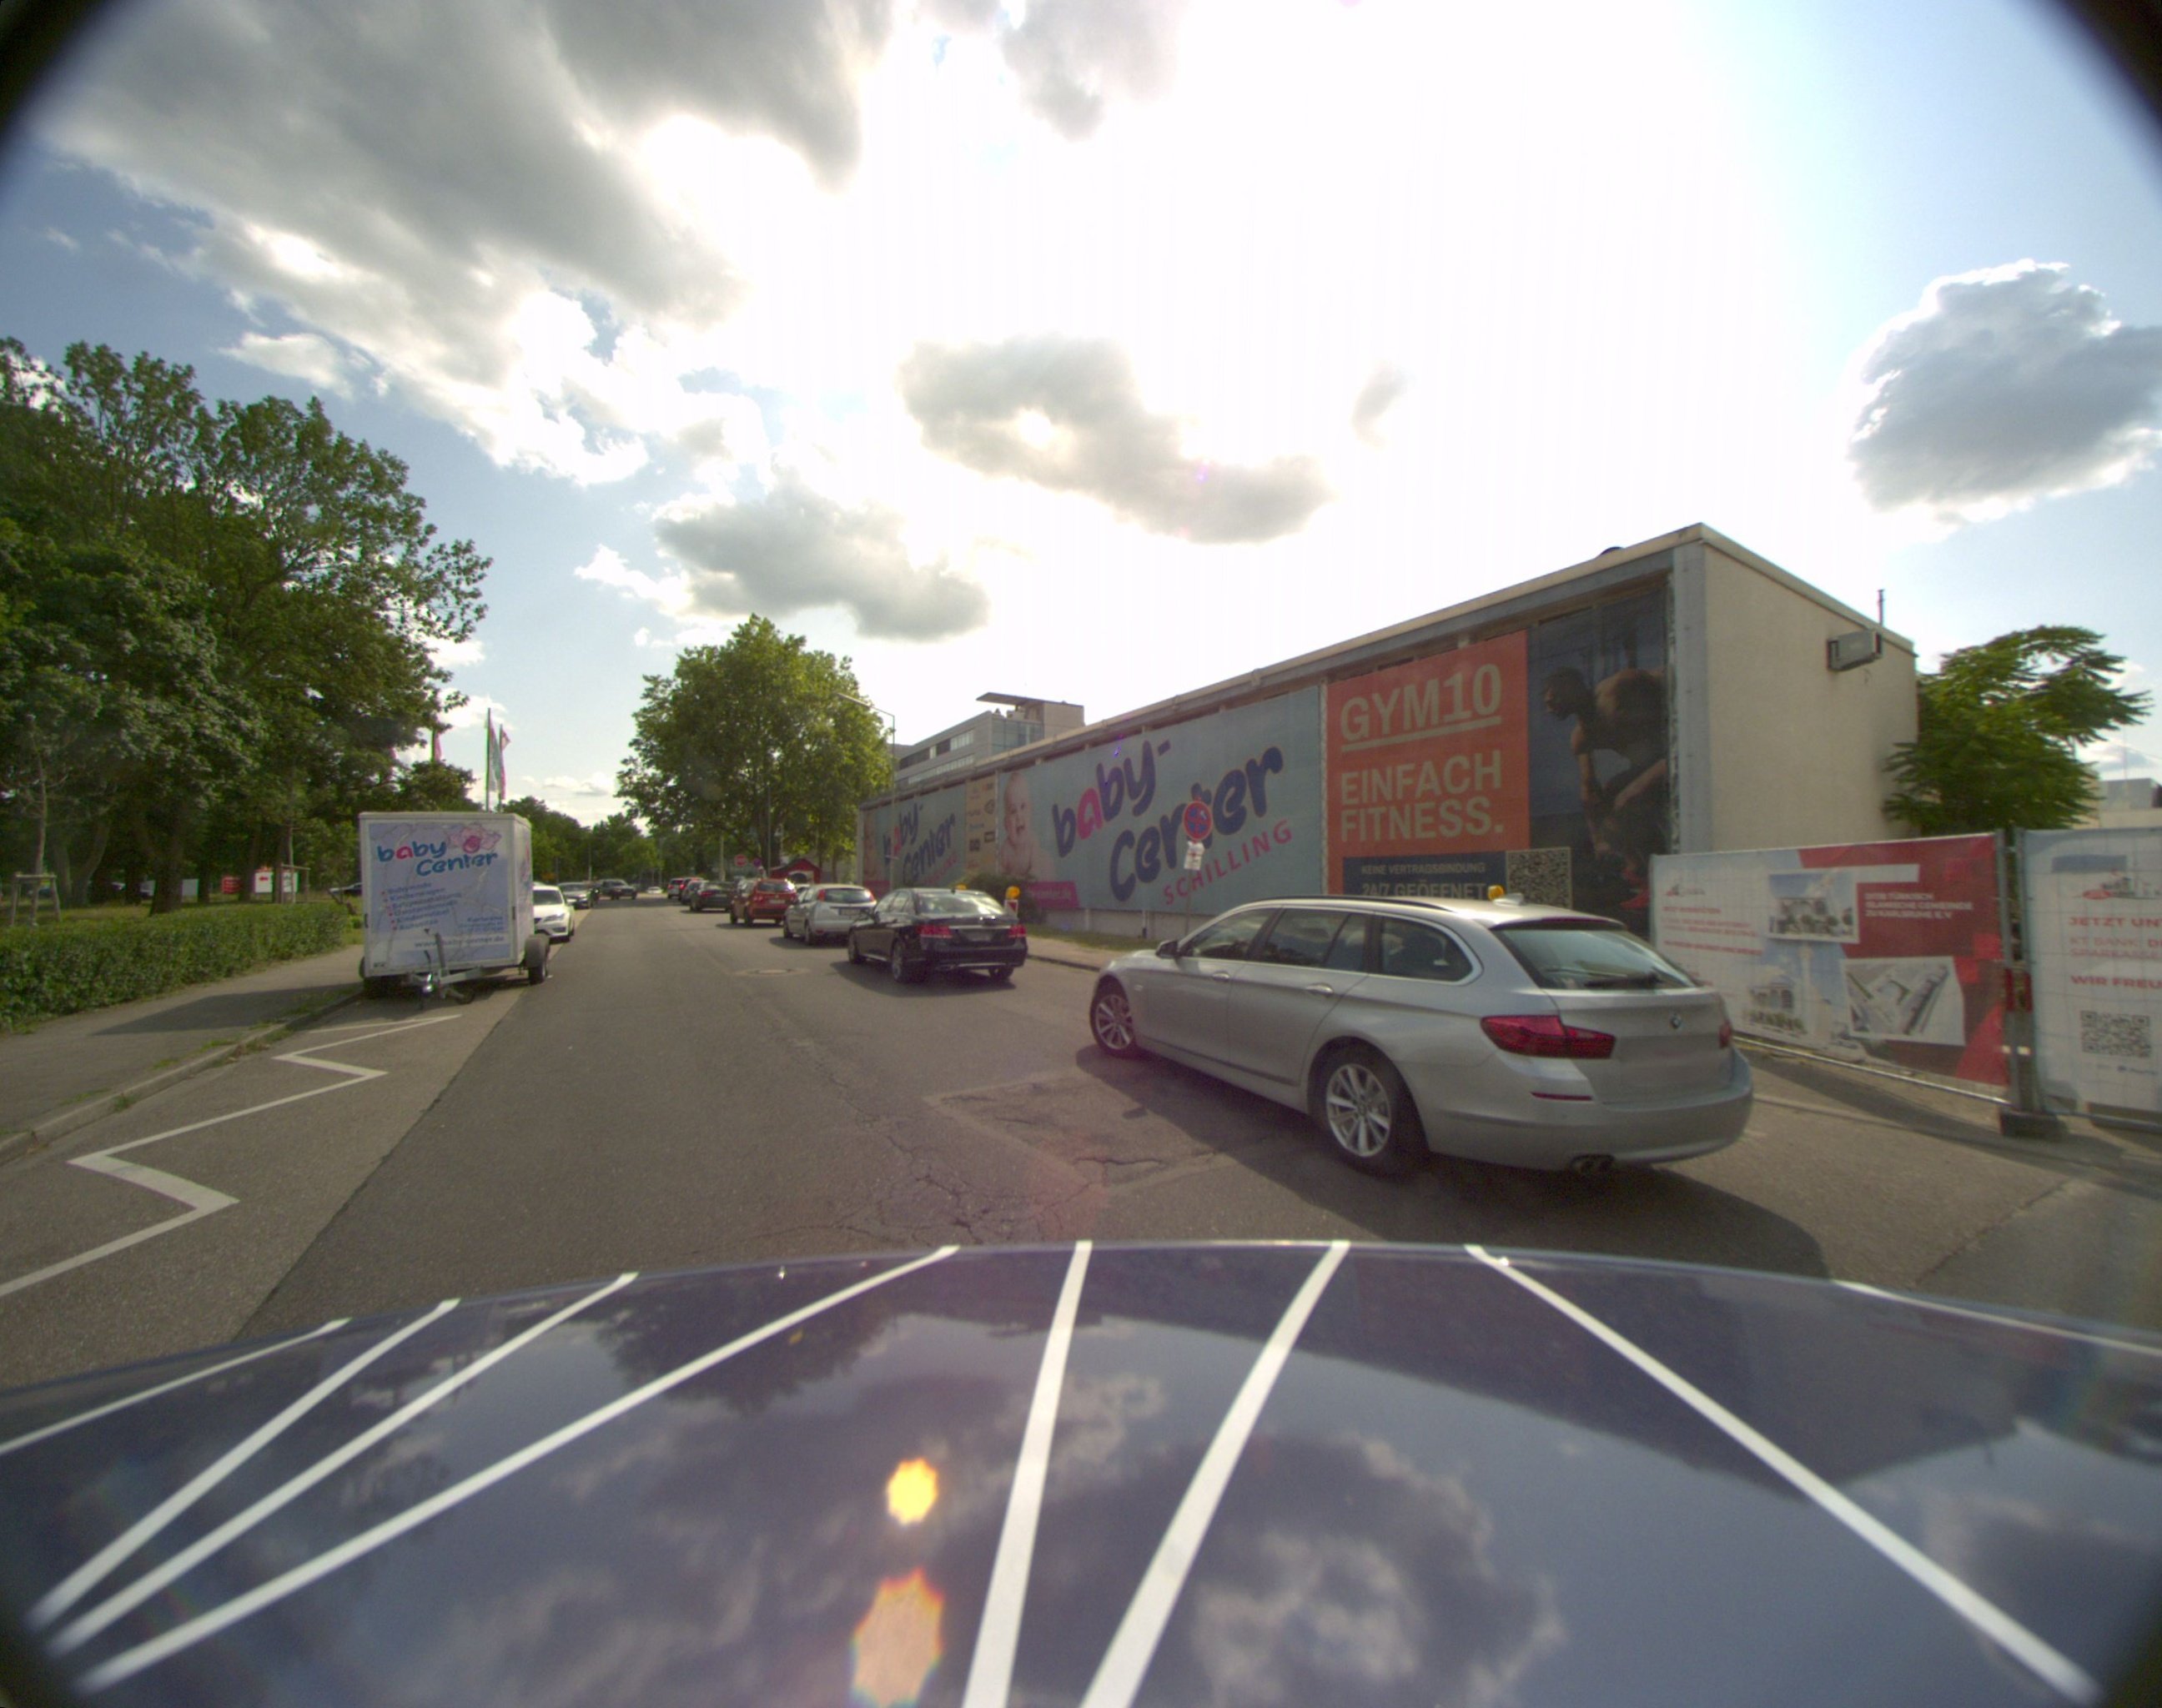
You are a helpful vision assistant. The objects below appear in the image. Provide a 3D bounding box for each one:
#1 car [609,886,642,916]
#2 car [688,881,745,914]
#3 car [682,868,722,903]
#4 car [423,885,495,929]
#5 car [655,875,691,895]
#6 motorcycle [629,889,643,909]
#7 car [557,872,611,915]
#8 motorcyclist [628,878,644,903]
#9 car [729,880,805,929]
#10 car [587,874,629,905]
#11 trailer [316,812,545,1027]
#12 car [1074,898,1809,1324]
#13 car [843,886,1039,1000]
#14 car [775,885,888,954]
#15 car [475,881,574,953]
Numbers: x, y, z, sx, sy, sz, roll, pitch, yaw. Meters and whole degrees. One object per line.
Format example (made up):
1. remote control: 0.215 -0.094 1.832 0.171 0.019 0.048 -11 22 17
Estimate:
1. car: -34.945 3.576 58.260 2.003 2.002 3.990 -3 1 -31
2. car: -17.508 2.018 36.378 2.017 1.396 4.777 0 -1 -31
3. car: -22.720 1.854 45.481 2.003 2.001 3.991 1 -2 -29
4. car: -25.007 2.094 30.644 1.721 1.531 3.680 -3 -1 -32
5. car: -32.413 2.429 60.338 2.004 1.573 3.990 1 -2 -36
6. motorcycle: -29.612 2.997 50.566 0.646 1.238 1.955 -3 0 -33
7. car: -26.399 2.034 40.469 2.003 2.002 3.991 -3 1 -29
8. motorcyclist: -29.606 2.430 50.541 0.775 1.589 0.902 -3 1 -33
9. car: -10.590 1.636 25.508 1.602 1.494 3.497 1 -2 -35
10. car: -30.945 2.311 49.799 2.003 1.785 3.991 -3 1 -29
11. trailer: -8.877 0.733 10.772 1.771 2.404 4.267 -2 1 -32
12. car: 1.695 1.117 5.337 1.773 1.471 4.609 2 -2 -24
13. car: -2.557 1.309 12.806 1.856 1.490 4.546 1 -2 -30
14. car: -6.370 1.545 19.137 1.797 1.481 3.939 1 -2 -32
15. car: -14.220 1.527 19.594 1.721 1.531 3.679 -3 1 -32
